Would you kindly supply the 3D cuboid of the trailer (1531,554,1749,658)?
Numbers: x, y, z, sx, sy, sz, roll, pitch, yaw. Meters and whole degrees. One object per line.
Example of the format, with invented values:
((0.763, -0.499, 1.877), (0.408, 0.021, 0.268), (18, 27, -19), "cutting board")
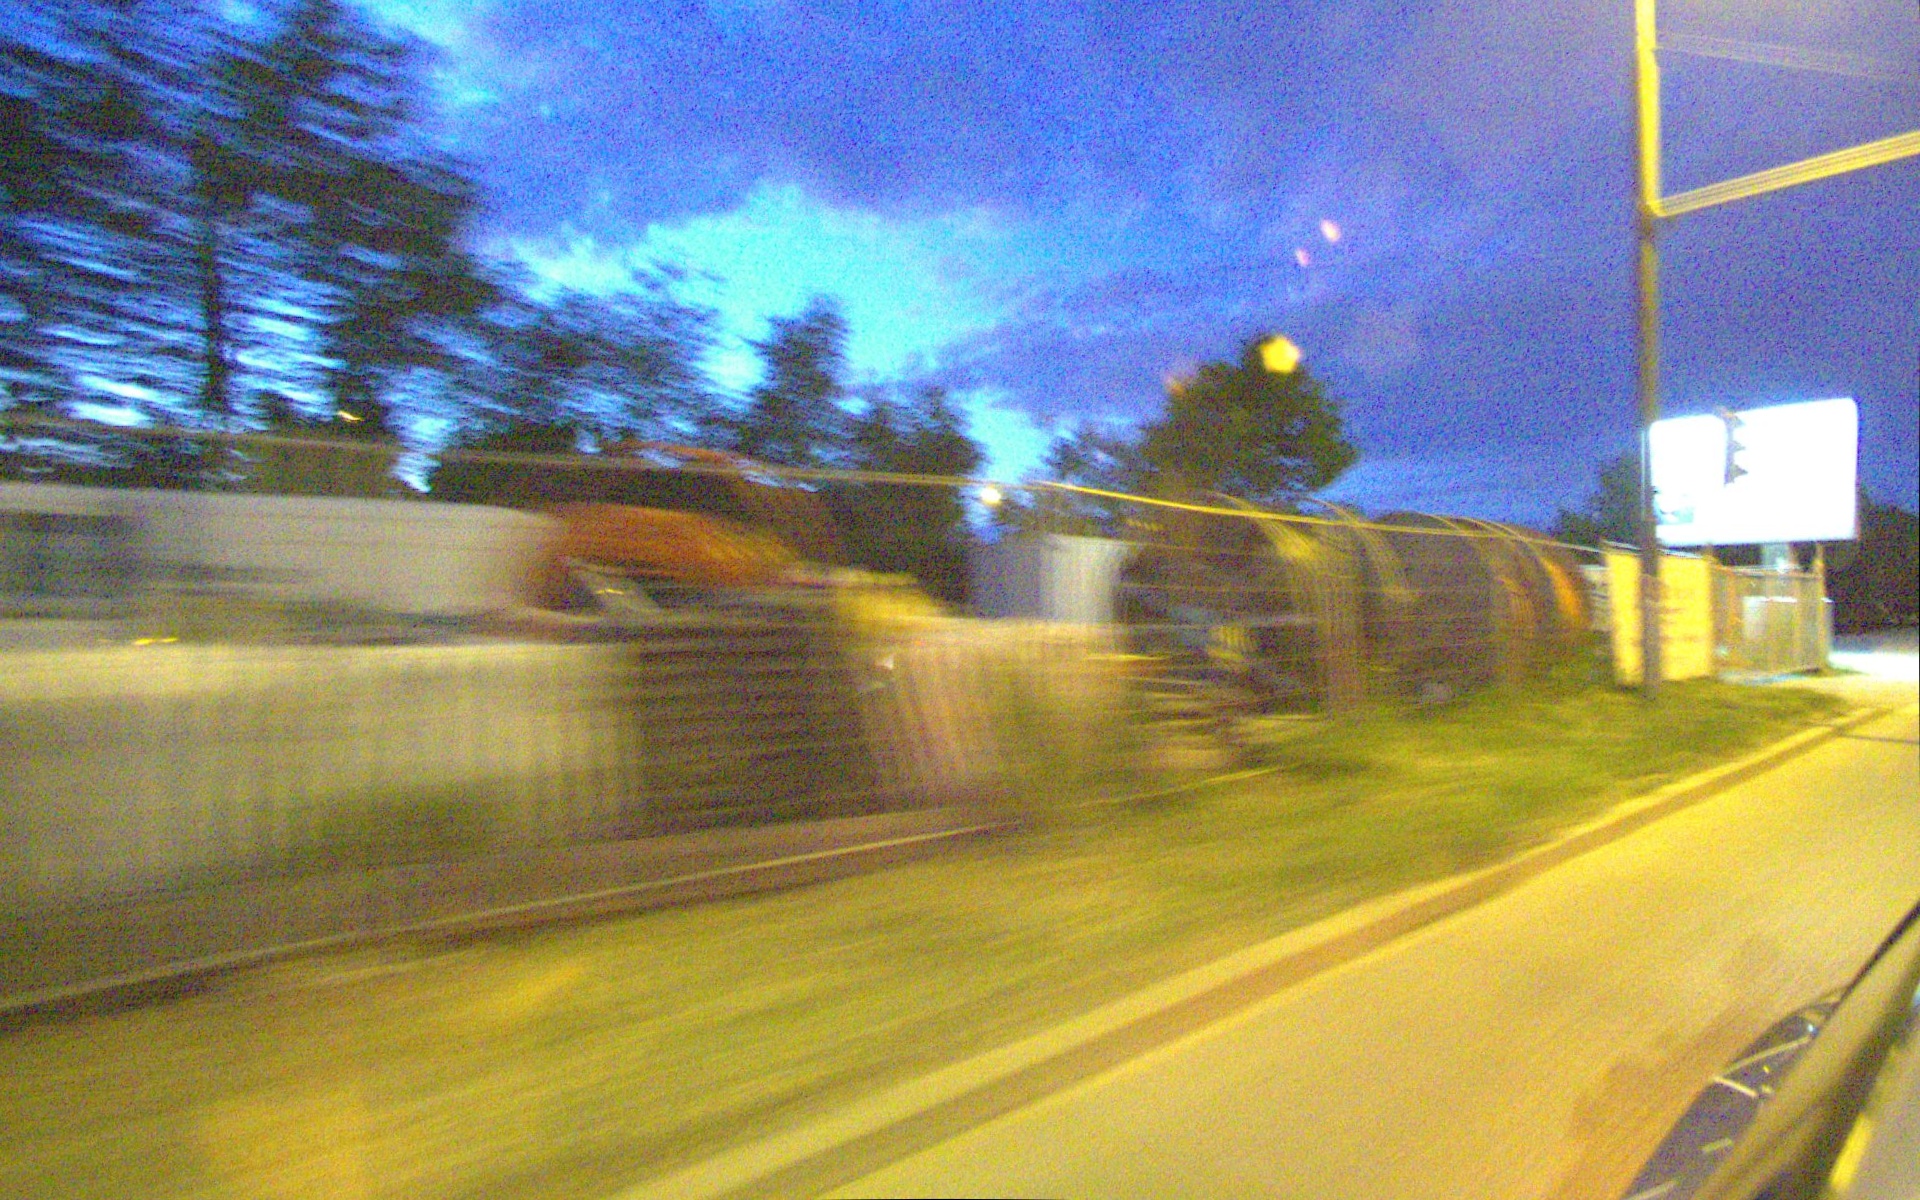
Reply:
((14.562, 0.105, 21.923), (1.580, 2.039, 3.767), (1, 0, -16), "trailer")

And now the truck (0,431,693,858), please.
((-5.718, 0.272, 7.067), (7.183, 2.454, 2.188), (0, -1, -39), "truck")

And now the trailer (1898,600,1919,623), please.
((44.980, 0.480, 45.933), (9.442, 0.979, 2.178), (0, -2, -39), "trailer")

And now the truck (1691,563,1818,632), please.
((29.655, -0.098, 37.630), (7.610, 2.313, 2.381), (-1, 0, -42), "truck")

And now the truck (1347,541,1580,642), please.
((14.434, -0.197, 29.330), (2.429, 2.633, 5.539), (0, -1, -41), "truck")

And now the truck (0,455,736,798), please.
((-6.200, 0.207, 10.790), (7.180, 2.783, 2.189), (-1, -1, -37), "truck")
